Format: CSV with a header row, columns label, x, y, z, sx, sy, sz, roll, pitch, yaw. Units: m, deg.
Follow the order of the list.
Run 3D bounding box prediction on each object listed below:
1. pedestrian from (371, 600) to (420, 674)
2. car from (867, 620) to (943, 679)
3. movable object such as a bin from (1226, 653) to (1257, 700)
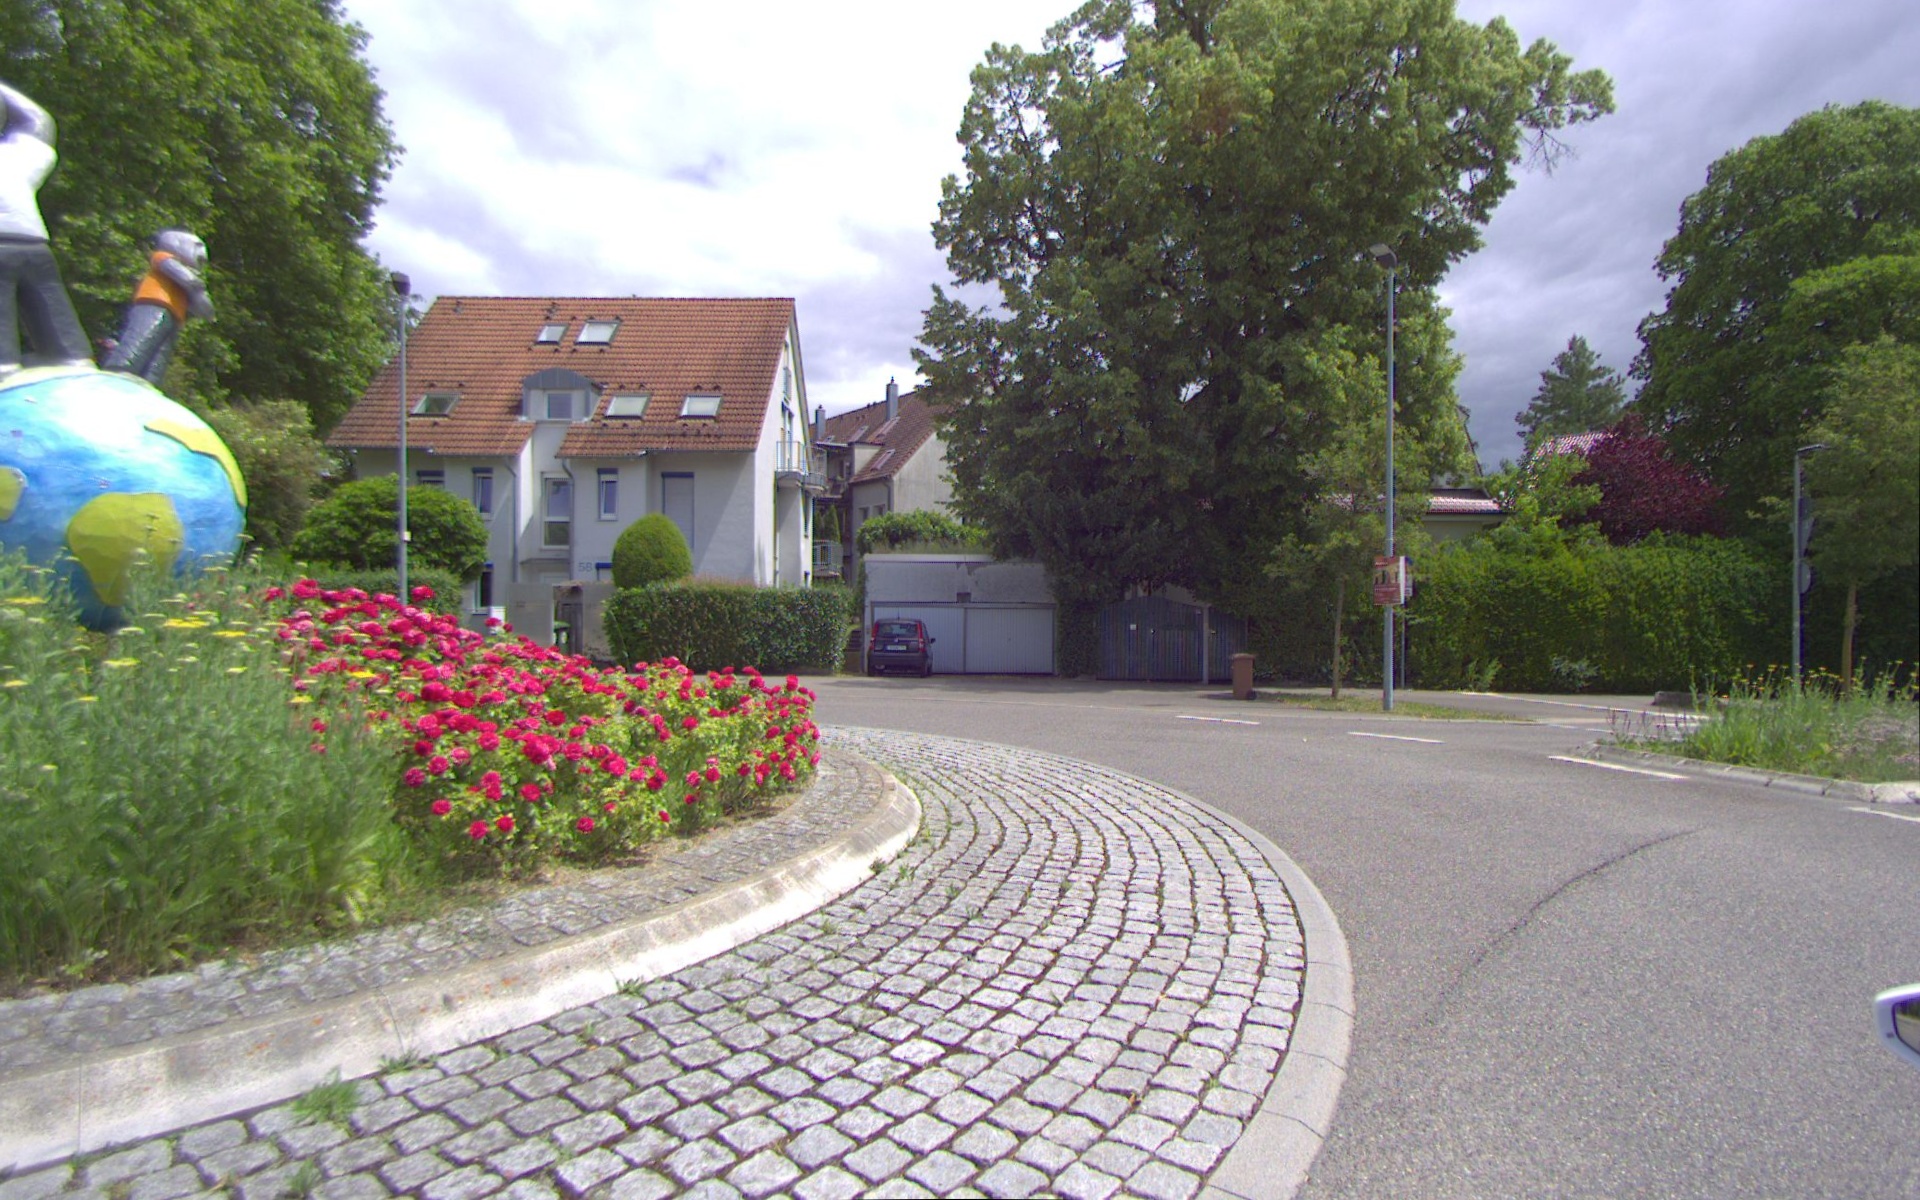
label,x,y,z,sx,sy,sz,roll,pitch,yaw
pedestrian,-13.419,0.875,23.896,0.680,1.714,0.746,1,0,3
car,-1.404,1.345,26.933,1.632,1.415,3.581,1,-3,3
movable object such as a bin,5.767,1.559,20.584,0.407,0.947,0.438,2,-1,-26
